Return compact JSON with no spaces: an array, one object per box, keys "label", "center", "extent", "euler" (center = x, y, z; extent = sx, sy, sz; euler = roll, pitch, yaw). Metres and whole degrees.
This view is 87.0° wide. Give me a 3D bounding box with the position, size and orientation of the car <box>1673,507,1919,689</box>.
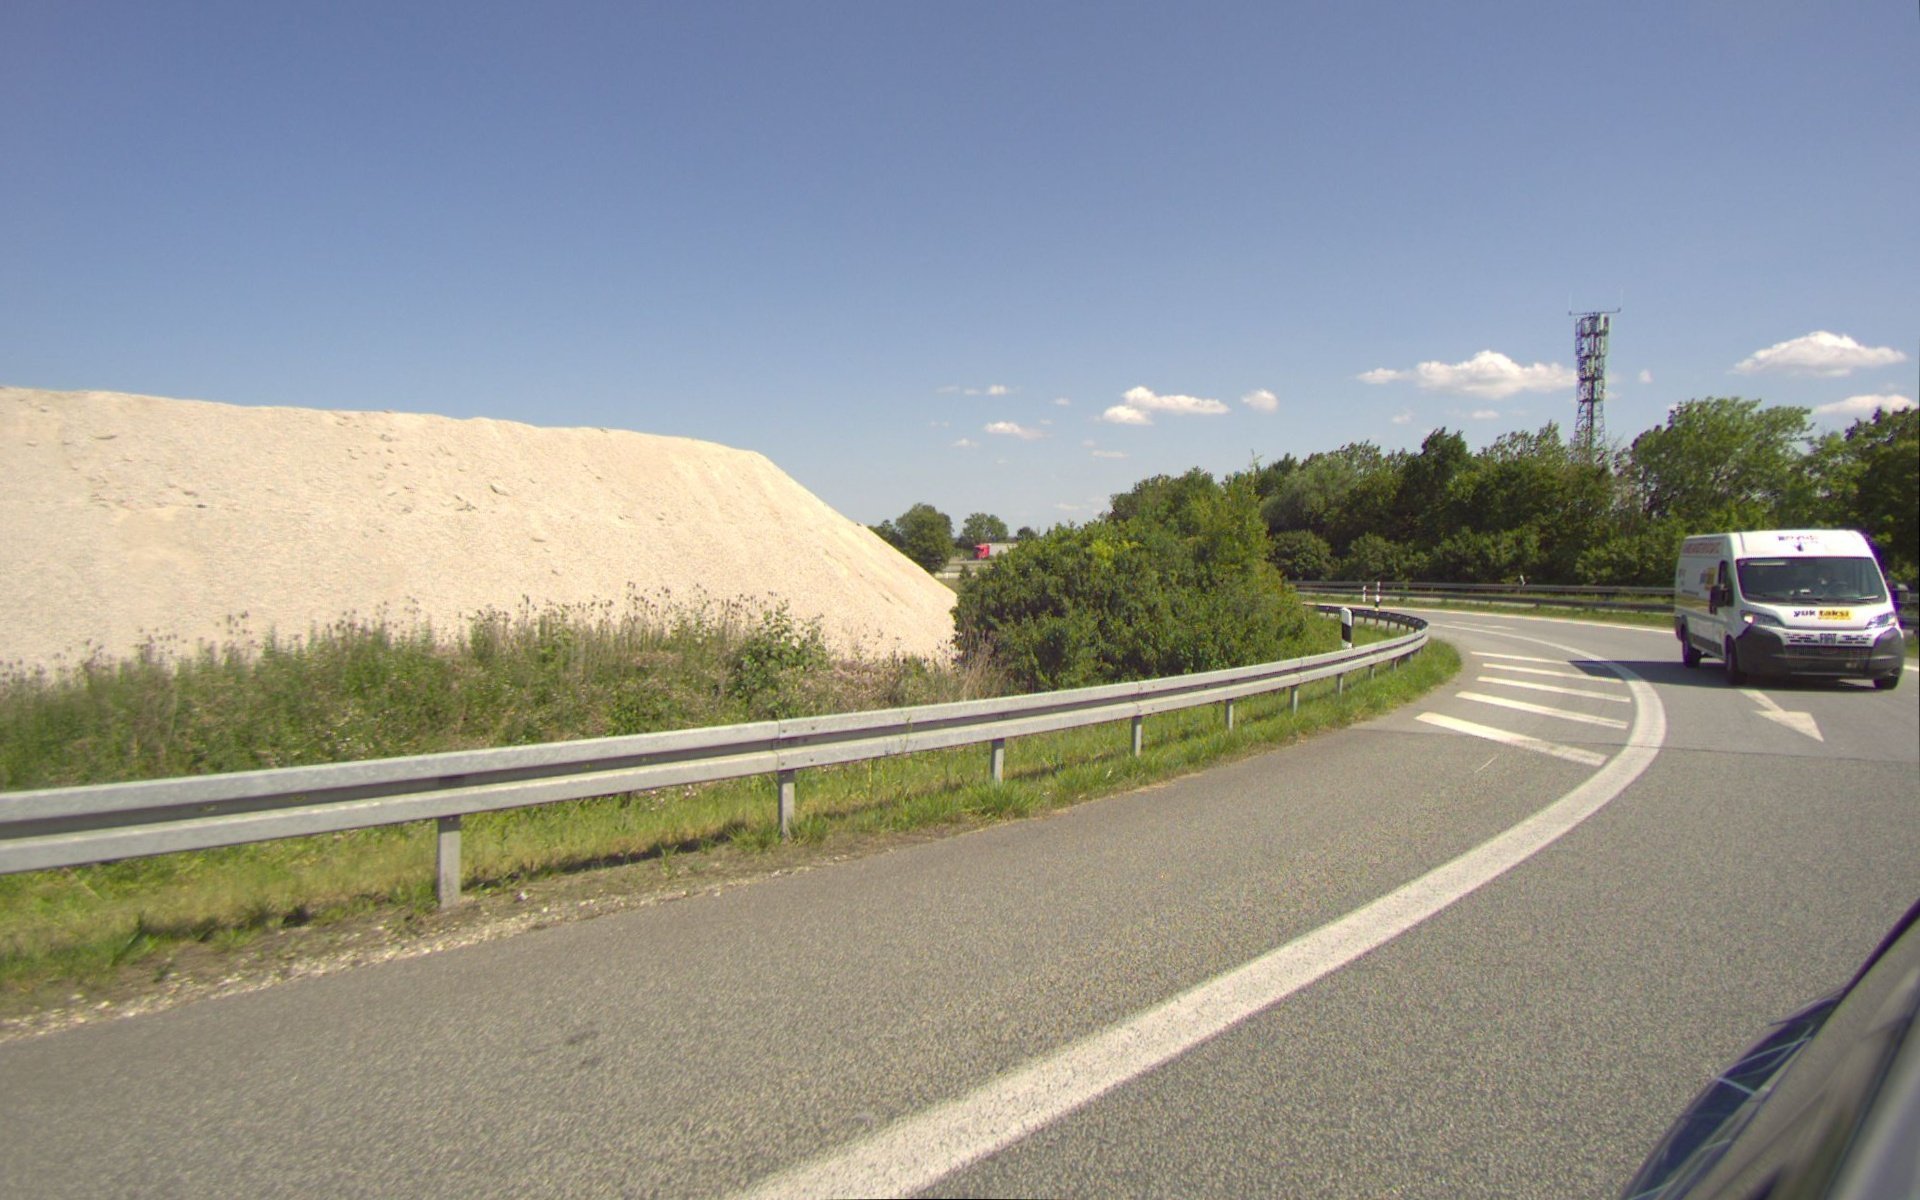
[{"label":"car","center":[14.065,-0.104,17.362],"extent":[2.069,2.555,6.179],"euler":[-2,1,27]}]
